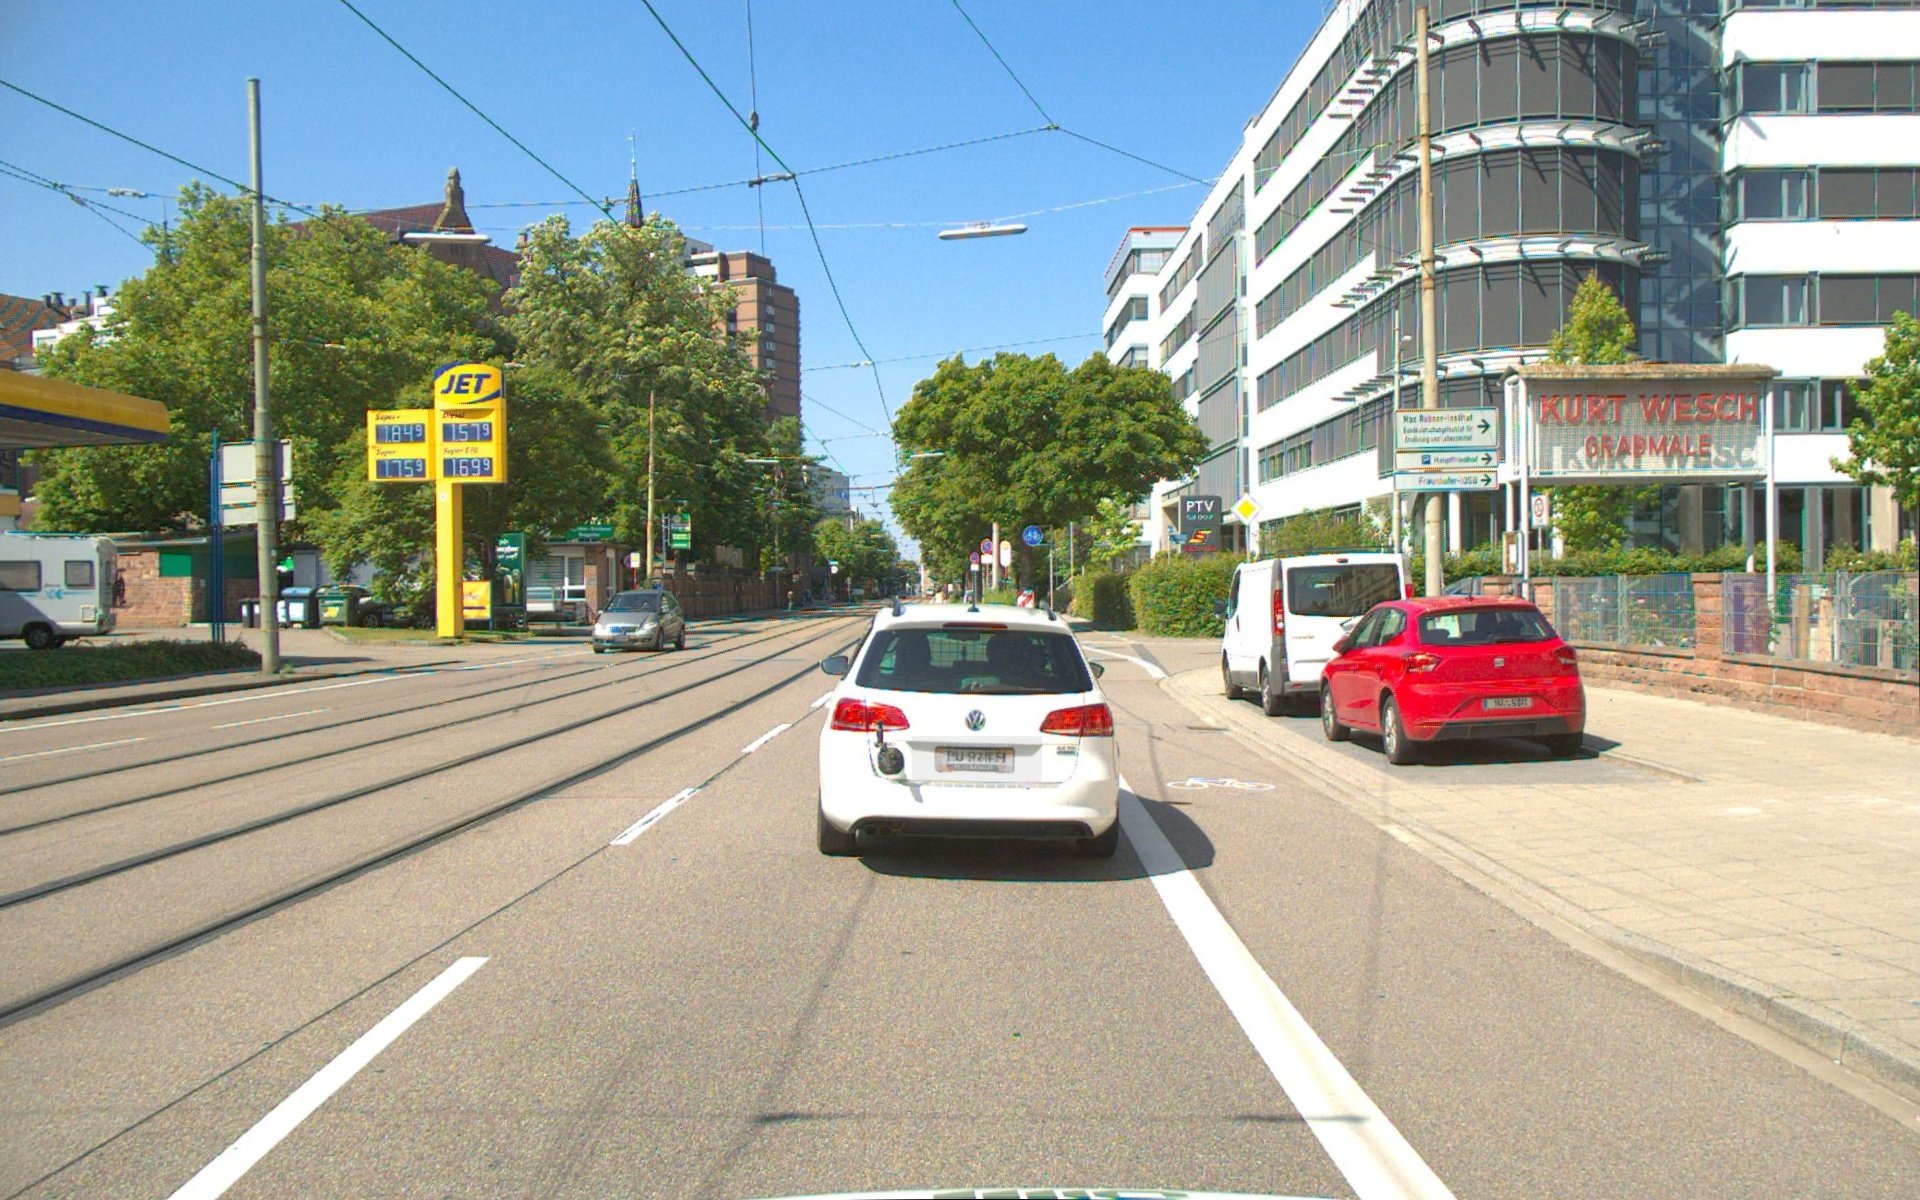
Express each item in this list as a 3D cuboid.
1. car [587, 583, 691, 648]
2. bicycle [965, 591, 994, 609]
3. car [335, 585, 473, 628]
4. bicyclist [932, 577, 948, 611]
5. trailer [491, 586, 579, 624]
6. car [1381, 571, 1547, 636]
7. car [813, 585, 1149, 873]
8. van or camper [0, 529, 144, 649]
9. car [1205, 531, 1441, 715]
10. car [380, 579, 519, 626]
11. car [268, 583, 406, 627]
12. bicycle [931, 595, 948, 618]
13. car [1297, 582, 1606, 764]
[{"bbox_3d":[-8.430,0.391,43.726,1.709,1.598,3.893,-2,0,4],"label":"car"},{"bbox_3d":[1.221,0.008,101.728,1.739,1.101,0.596,-1,0,-4],"label":"bicycle"},{"bbox_3d":[-20.733,0.225,61.826,1.916,1.493,4.549,0,0,43],"label":"car"},{"bbox_3d":[-0.992,-0.278,80.902,0.770,1.658,0.738,1,-1,-1],"label":"bicyclist"},{"bbox_3d":[-17.614,0.196,68.598,3.149,1.552,1.778,0,0,0],"label":"trailer"},{"bbox_3d":[12.095,0.070,39.835,3.520,1.498,1.592,-1,0,0],"label":"car"},{"bbox_3d":[0.097,0.654,10.741,1.718,1.467,4.412,1,0,0],"label":"car"},{"bbox_3d":[-25.412,-0.360,43.560,6.586,3.019,2.604,2,0,-18],"label":"van or camper"},{"bbox_3d":[4.705,0.257,22.262,1.936,2.090,5.191,-3,0,0],"label":"car"},{"bbox_3d":[-18.619,0.076,60.471,1.916,1.653,4.549,0,0,43],"label":"car"},{"bbox_3d":[-23.613,0.169,62.780,1.916,1.611,4.547,0,0,44],"label":"car"},{"bbox_3d":[-1.001,0.323,80.769,0.794,1.097,2.012,0,0,0],"label":"bicycle"},{"bbox_3d":[4.622,0.607,16.215,1.687,1.468,4.312,-3,0,0],"label":"car"}]
